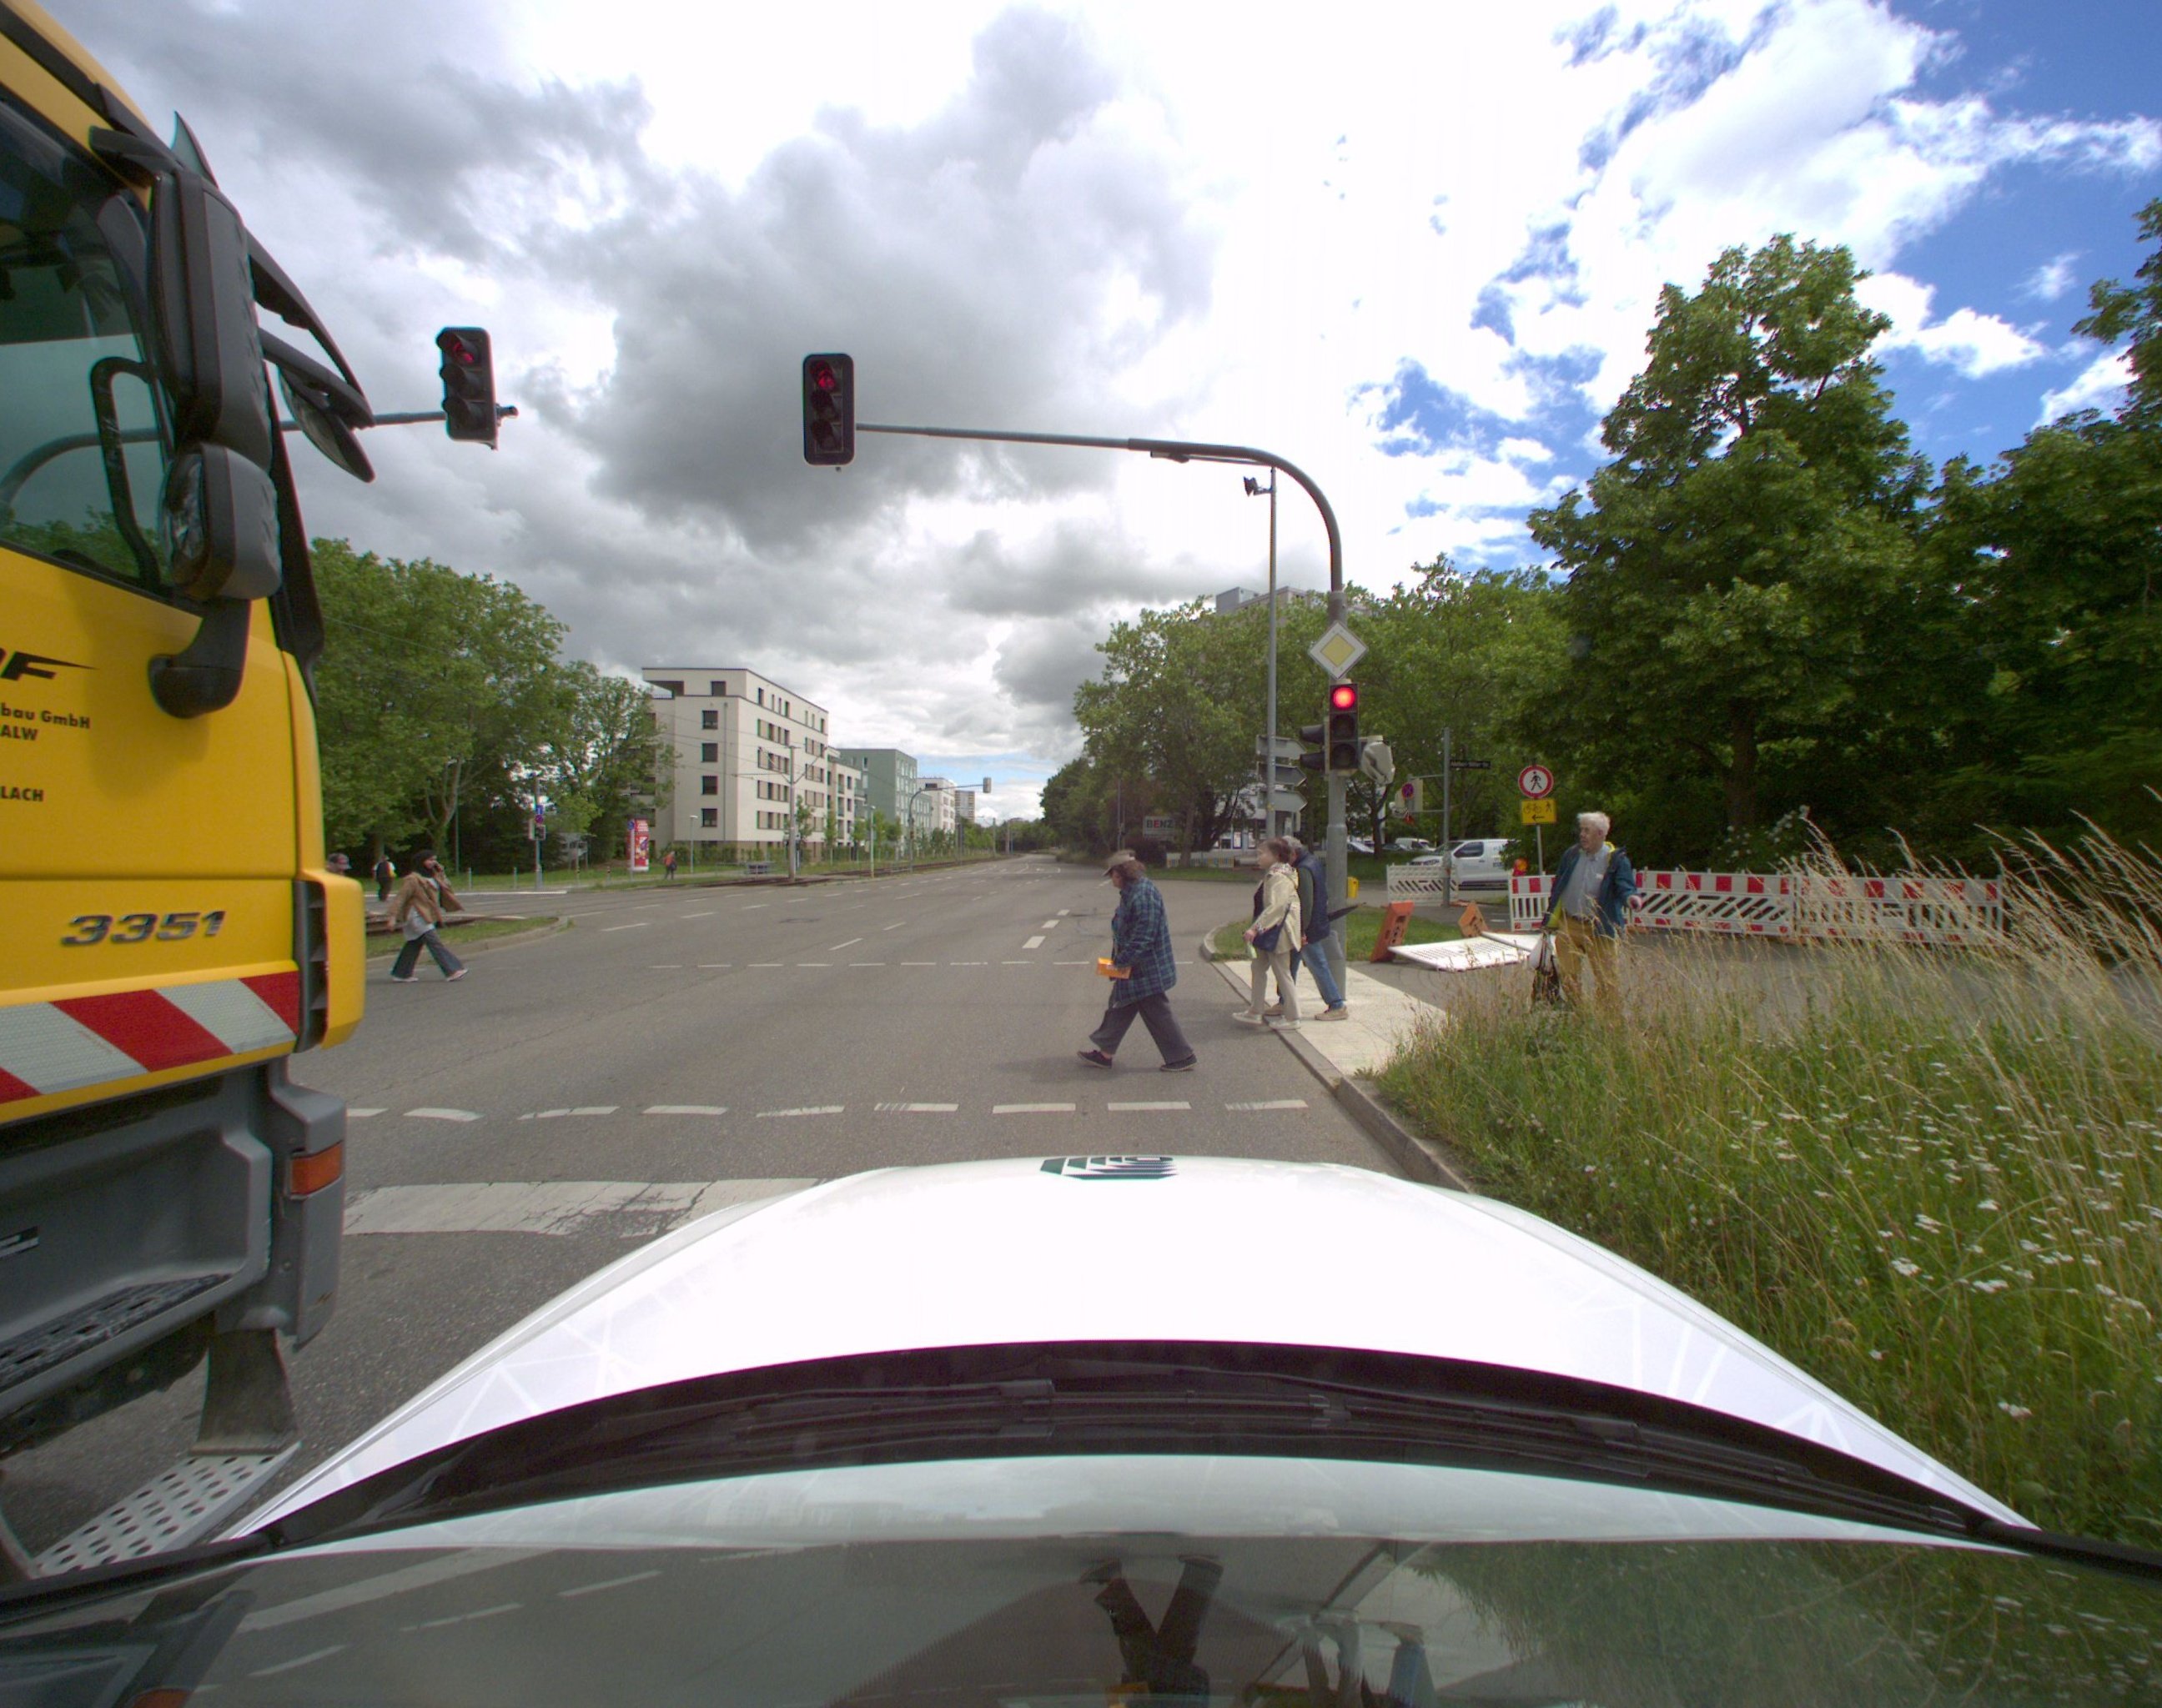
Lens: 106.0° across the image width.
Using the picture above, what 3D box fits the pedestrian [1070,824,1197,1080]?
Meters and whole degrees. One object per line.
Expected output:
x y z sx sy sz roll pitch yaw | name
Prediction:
0.343 0.641 5.720 0.820 1.671 0.733 -1 0 -1 | pedestrian

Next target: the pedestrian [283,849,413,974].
-9.801 0.744 10.926 0.889 1.596 0.908 -1 0 2 | pedestrian

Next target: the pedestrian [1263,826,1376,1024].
2.067 0.588 7.168 0.863 1.634 0.767 -1 0 9 | pedestrian

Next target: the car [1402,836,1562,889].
14.919 0.296 30.457 5.063 1.874 1.947 -1 0 -2 | car

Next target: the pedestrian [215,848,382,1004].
-8.523 0.747 8.917 0.909 1.607 0.930 -1 0 2 | pedestrian

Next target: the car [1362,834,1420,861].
24.603 -0.502 64.732 2.006 2.013 3.962 -1 0 -29 | car

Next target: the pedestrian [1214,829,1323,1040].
1.544 0.626 6.767 0.817 1.640 0.736 -1 0 11 | pedestrian

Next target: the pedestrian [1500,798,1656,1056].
3.776 0.499 6.266 0.936 1.774 1.019 -1 0 29 | pedestrian

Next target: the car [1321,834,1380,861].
20.572 -0.493 62.251 2.006 2.013 3.962 -1 0 -29 | car

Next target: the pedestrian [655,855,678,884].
-21.791 0.810 42.816 0.827 1.516 0.636 -1 0 1 | pedestrian

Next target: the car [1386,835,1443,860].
27.318 -0.506 66.865 2.006 2.013 3.962 -1 0 -29 | car

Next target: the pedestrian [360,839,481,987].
-8.115 0.699 10.039 0.779 1.742 0.829 -1 0 2 | pedestrian
